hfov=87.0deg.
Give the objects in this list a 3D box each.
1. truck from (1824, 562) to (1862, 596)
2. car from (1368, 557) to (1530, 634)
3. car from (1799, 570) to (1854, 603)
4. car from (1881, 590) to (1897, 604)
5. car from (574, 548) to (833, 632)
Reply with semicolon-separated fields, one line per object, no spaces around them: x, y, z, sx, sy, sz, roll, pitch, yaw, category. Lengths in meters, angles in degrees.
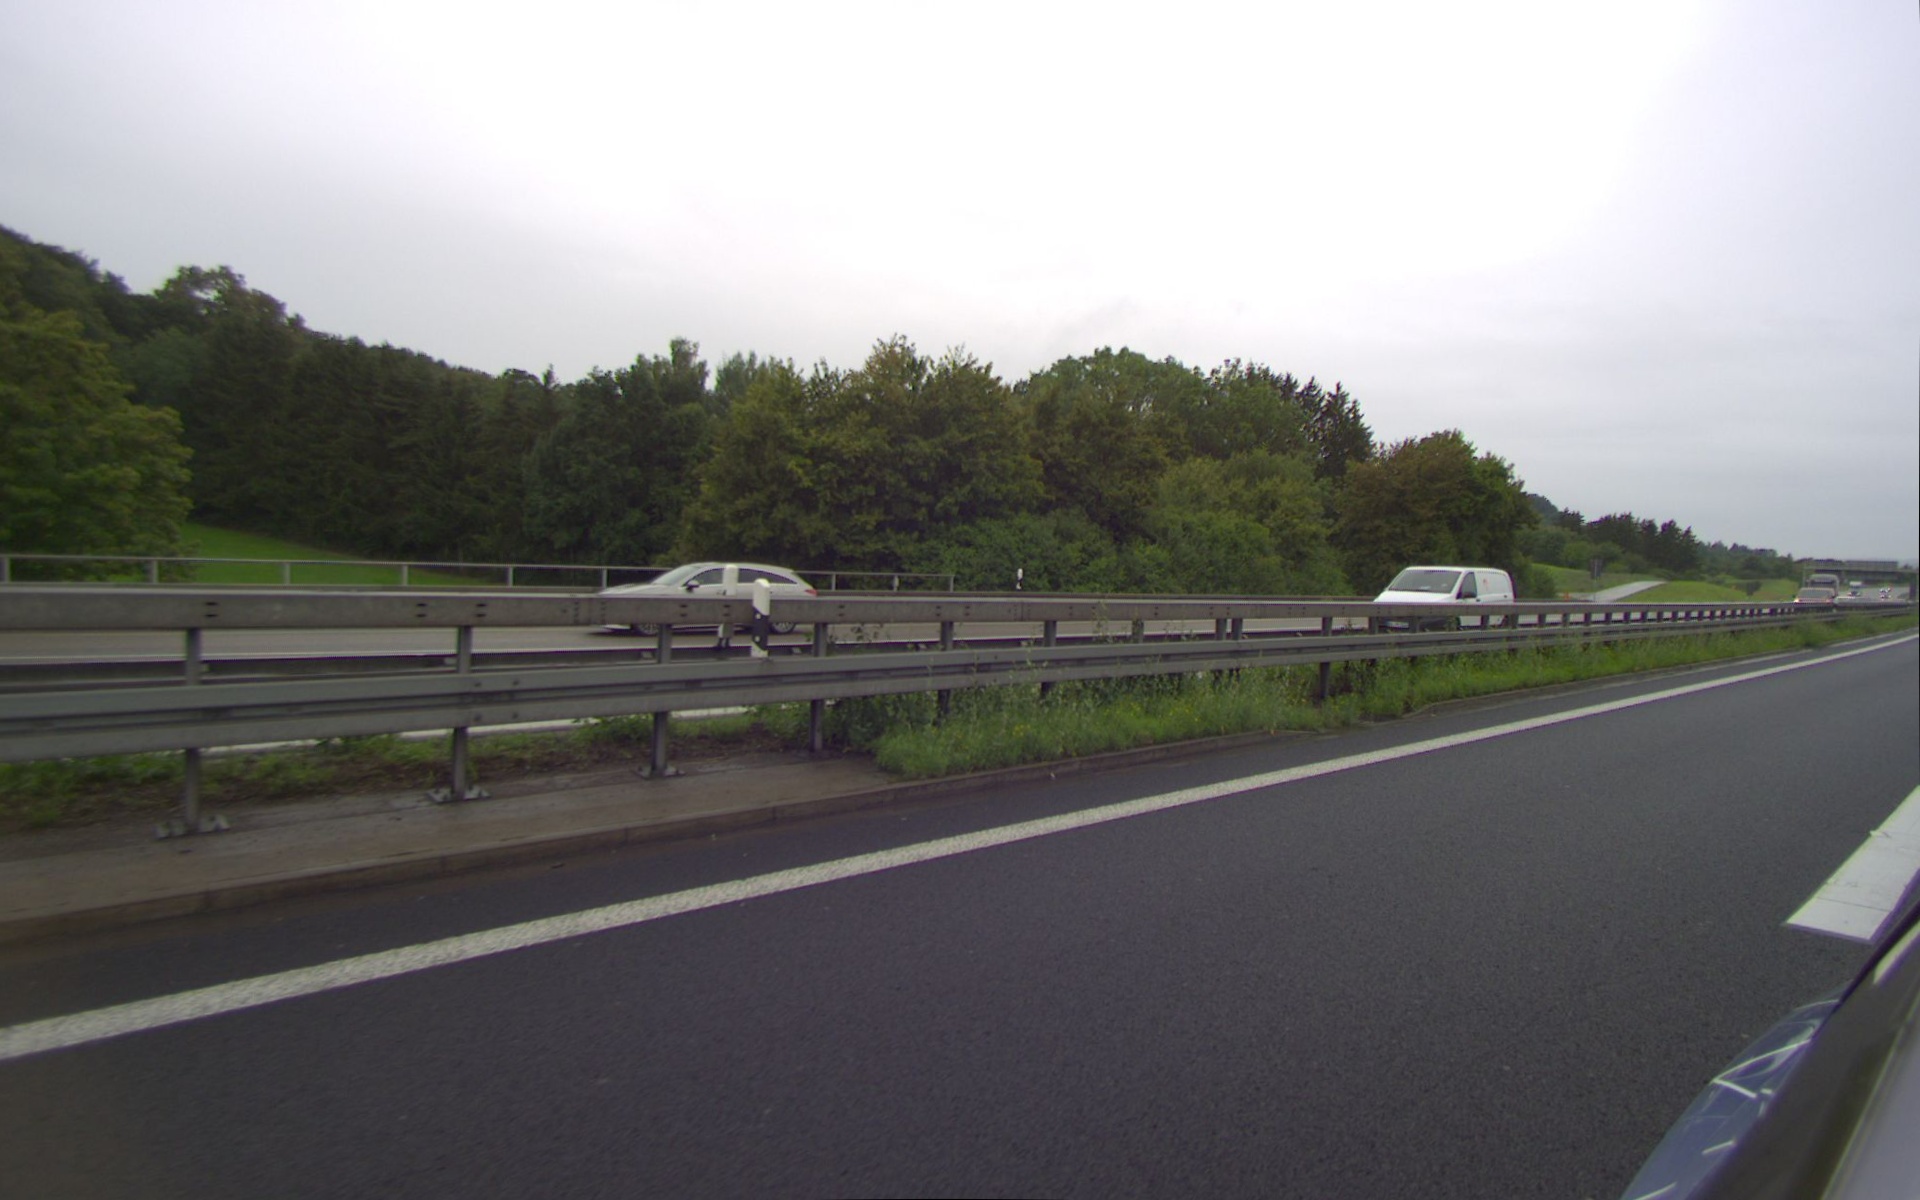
105.670;-2.525;121.070;2.793;3.949;9.868;2;2;44;truck
11.977;-0.143;24.637;4.637;1.714;1.912;-1;2;-42;car
56.884;-0.908;66.425;4.991;2.038;2.127;-1;2;-43;car
145.085;-0.513;158.009;1.748;2.038;4.428;2;2;44;car
-5.000;-0.219;20.028;4.622;1.473;1.905;0;2;-37;car
